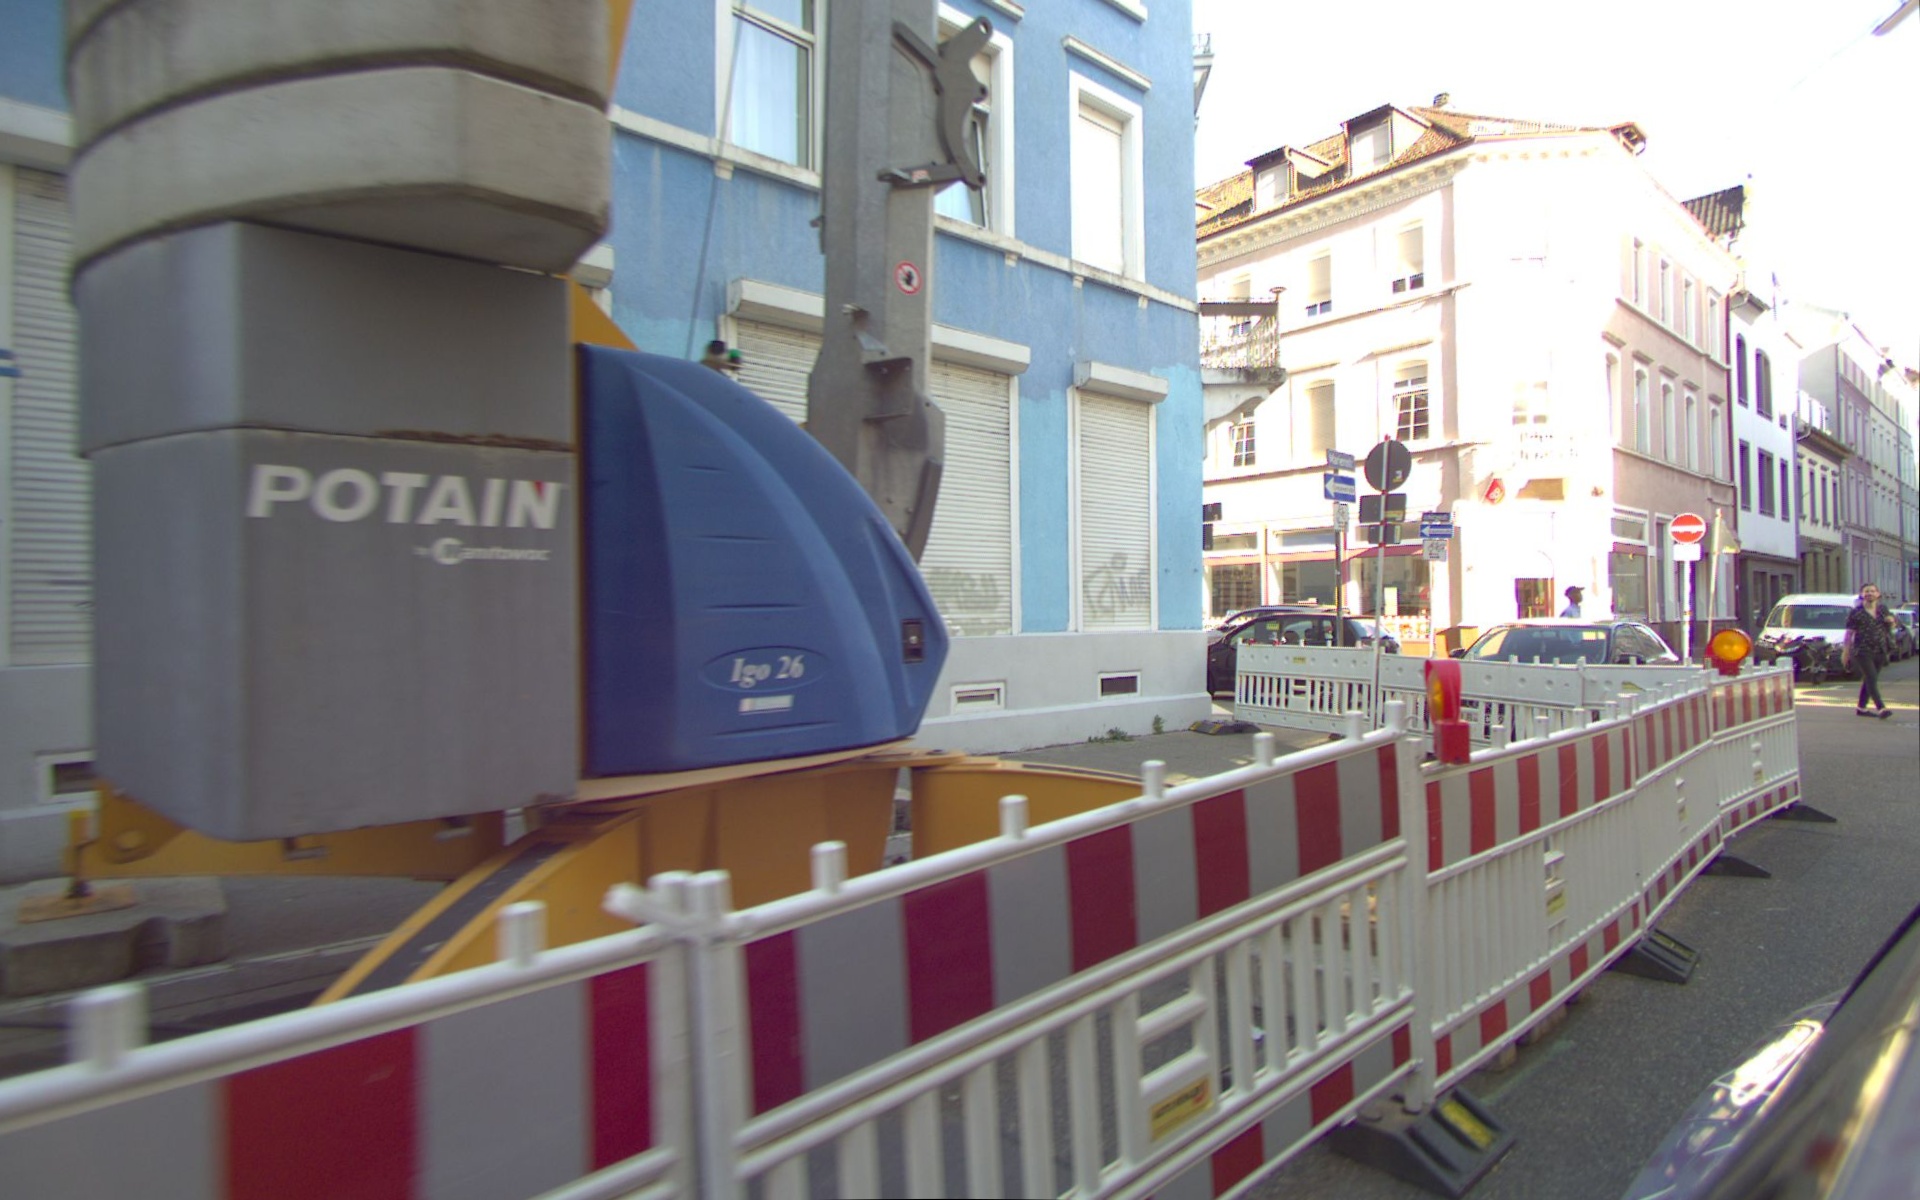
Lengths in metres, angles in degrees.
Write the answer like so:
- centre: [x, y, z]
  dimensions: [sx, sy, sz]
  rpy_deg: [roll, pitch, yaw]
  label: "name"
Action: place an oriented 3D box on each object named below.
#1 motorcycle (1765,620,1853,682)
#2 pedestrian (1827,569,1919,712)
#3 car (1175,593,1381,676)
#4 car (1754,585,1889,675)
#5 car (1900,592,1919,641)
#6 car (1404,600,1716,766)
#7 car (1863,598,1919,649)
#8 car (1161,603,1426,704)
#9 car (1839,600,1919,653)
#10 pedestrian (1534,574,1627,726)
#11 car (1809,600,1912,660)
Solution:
- centre: [16.918, 0.990, 20.156]
  dimensions: [1.957, 1.100, 0.722]
  rpy_deg: [-1, 1, -30]
  label: "motorcycle"
- centre: [12.205, 0.505, 13.362]
  dimensions: [0.818, 1.815, 0.984]
  rpy_deg: [1, 1, 20]
  label: "pedestrian"
- centre: [7.105, 0.754, 22.921]
  dimensions: [1.824, 1.653, 4.066]
  rpy_deg: [-3, 0, -40]
  label: "car"
- centre: [19.406, 0.577, 22.734]
  dimensions: [4.294, 1.839, 1.751]
  rpy_deg: [-1, 1, -42]
  label: "car"
- centre: [36.847, 0.592, 38.123]
  dimensions: [4.332, 1.752, 1.712]
  rpy_deg: [-1, 1, -42]
  label: "car"
- centre: [6.618, 0.767, 10.997]
  dimensions: [3.964, 1.452, 1.774]
  rpy_deg: [0, -2, -42]
  label: "car"
- centre: [30.813, 0.724, 33.016]
  dimensions: [3.707, 1.523, 1.618]
  rpy_deg: [-1, 1, -42]
  label: "car"
- centre: [5.391, 0.824, 16.734]
  dimensions: [1.647, 1.472, 3.874]
  rpy_deg: [0, -2, -40]
  label: "car"
- centre: [27.554, 0.731, 30.041]
  dimensions: [3.815, 1.413, 1.734]
  rpy_deg: [-1, 1, -42]
  label: "car"
- centre: [8.002, 0.625, 13.059]
  dimensions: [0.767, 1.873, 0.770]
  rpy_deg: [0, -2, -42]
  label: "pedestrian"
- centre: [23.769, 0.739, 26.674]
  dimensions: [3.815, 1.426, 1.611]
  rpy_deg: [-1, 1, -42]
  label: "car"
